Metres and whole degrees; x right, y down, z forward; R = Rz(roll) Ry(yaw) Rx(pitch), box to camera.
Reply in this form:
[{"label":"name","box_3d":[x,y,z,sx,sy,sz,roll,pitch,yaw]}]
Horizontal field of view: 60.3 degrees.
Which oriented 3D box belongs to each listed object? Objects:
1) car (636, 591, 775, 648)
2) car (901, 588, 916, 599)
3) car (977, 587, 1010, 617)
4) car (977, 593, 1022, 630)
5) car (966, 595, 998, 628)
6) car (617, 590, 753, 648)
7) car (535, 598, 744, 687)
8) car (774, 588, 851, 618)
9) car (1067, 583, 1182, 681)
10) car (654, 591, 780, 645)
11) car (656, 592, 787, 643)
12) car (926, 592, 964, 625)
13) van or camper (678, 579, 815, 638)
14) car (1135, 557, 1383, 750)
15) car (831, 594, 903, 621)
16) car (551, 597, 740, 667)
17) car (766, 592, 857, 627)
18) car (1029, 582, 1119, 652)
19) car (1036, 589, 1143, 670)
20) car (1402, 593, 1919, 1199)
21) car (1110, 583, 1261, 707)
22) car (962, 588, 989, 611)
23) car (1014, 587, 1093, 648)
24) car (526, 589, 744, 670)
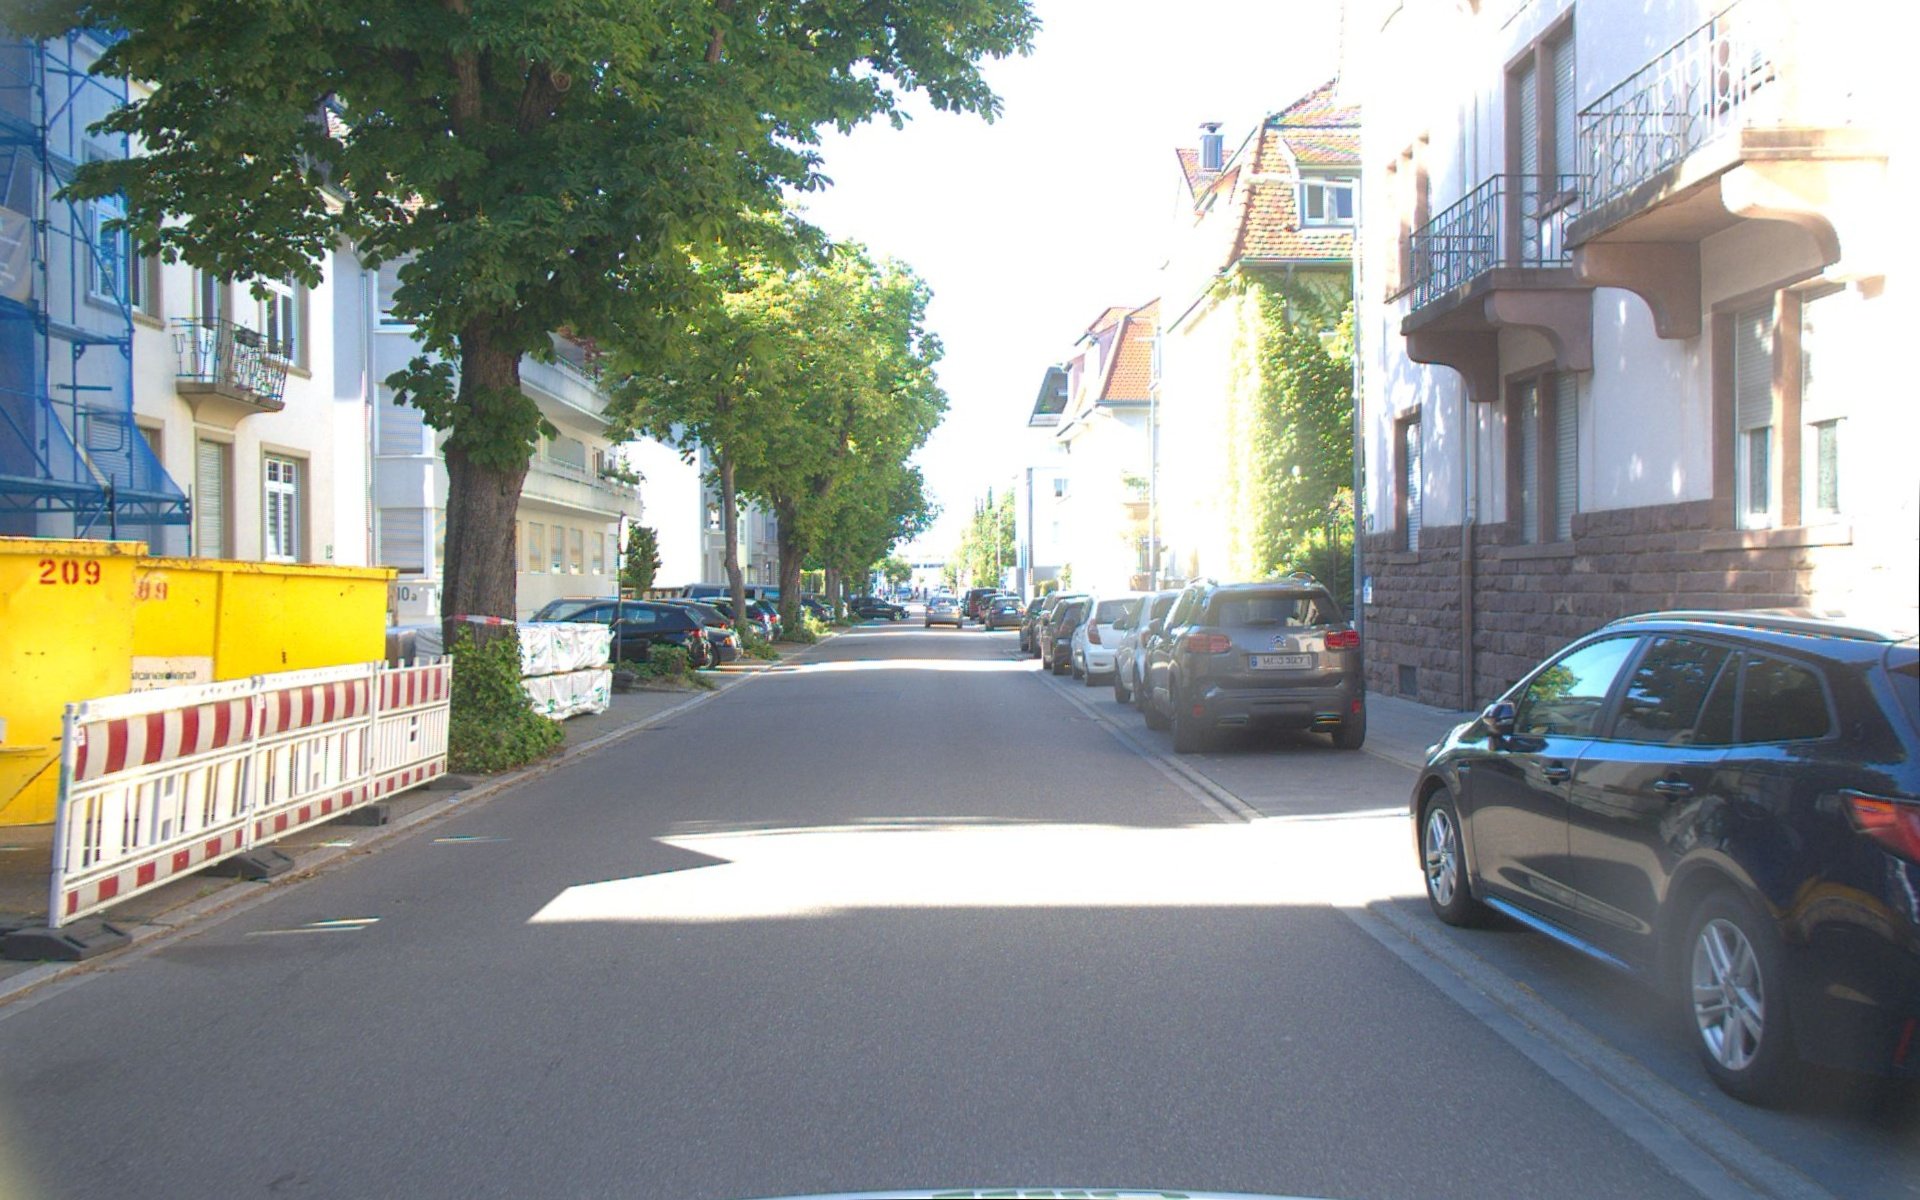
[{"label":"car","box_3d":[-7.071,0.542,46.162,3.569,1.488,1.710,1,0,1]},{"label":"car","box_3d":[-7.276,-0.898,233.062,1.753,1.559,3.994,-1,0,-7]},{"label":"car","box_3d":[1.762,0.117,88.259,1.560,1.506,3.246,-3,0,-1]},{"label":"car","box_3d":[1.690,0.483,71.501,1.587,1.465,3.933,-3,1,-3]},{"label":"car","box_3d":[1.311,0.705,100.637,1.833,1.938,5.197,-2,0,0]},{"label":"car","box_3d":[-7.219,0.500,43.653,3.411,1.445,1.708,1,-1,-6]},{"label":"car","box_3d":[-6.133,0.786,31.844,3.800,1.540,1.829,-2,0,-10]},{"label":"car","box_3d":[-7.875,0.146,88.461,3.941,1.510,1.806,2,0,-2]},{"label":"car","box_3d":[2.839,0.556,29.134,1.543,1.576,3.467,-2,-1,-1]},{"label":"car","box_3d":[-7.116,0.532,48.668,3.407,1.483,1.797,1,0,0]},{"label":"car","box_3d":[-7.321,0.529,51.071,3.844,1.439,1.714,1,1,-3]},{"label":"car","box_3d":[-0.675,0.379,77.055,1.691,1.445,3.960,1,0,0]},{"label":"van or camper","box_3d":[-7.250,0.270,56.505,4.406,1.948,1.964,0,0,-1]},{"label":"car","box_3d":[2.970,0.519,17.291,1.741,1.726,4.319,1,-1,-1]},{"label":"car","box_3d":[-5.516,0.448,98.628,4.102,1.473,1.712,1,-1,1]},{"label":"car","box_3d":[-7.307,0.718,38.705,4.104,1.466,1.712,-2,0,-3]},{"label":"car","box_3d":[-6.570,0.409,73.570,3.906,1.494,1.696,-1,0,-2]},{"label":"car","box_3d":[2.732,0.419,40.361,1.755,1.547,4.365,-2,-1,-1]},{"label":"car","box_3d":[2.559,0.579,33.445,1.675,1.461,4.191,-3,-1,-1]},{"label":"car","box_3d":[3.093,0.716,6.245,1.610,1.479,4.502,0,0,-1]},{"label":"car","box_3d":[3.015,0.590,22.575,1.592,1.576,2.868,0,-1,-1]},{"label":"car","box_3d":[1.067,-0.068,115.640,1.701,1.558,4.178,-1,0,-1]},{"label":"car","box_3d":[2.540,0.494,45.734,1.629,1.547,3.998,-2,-1,-4]},{"label":"car","box_3d":[-7.023,0.609,36.016,4.506,1.635,1.829,-1,0,-10]}]
